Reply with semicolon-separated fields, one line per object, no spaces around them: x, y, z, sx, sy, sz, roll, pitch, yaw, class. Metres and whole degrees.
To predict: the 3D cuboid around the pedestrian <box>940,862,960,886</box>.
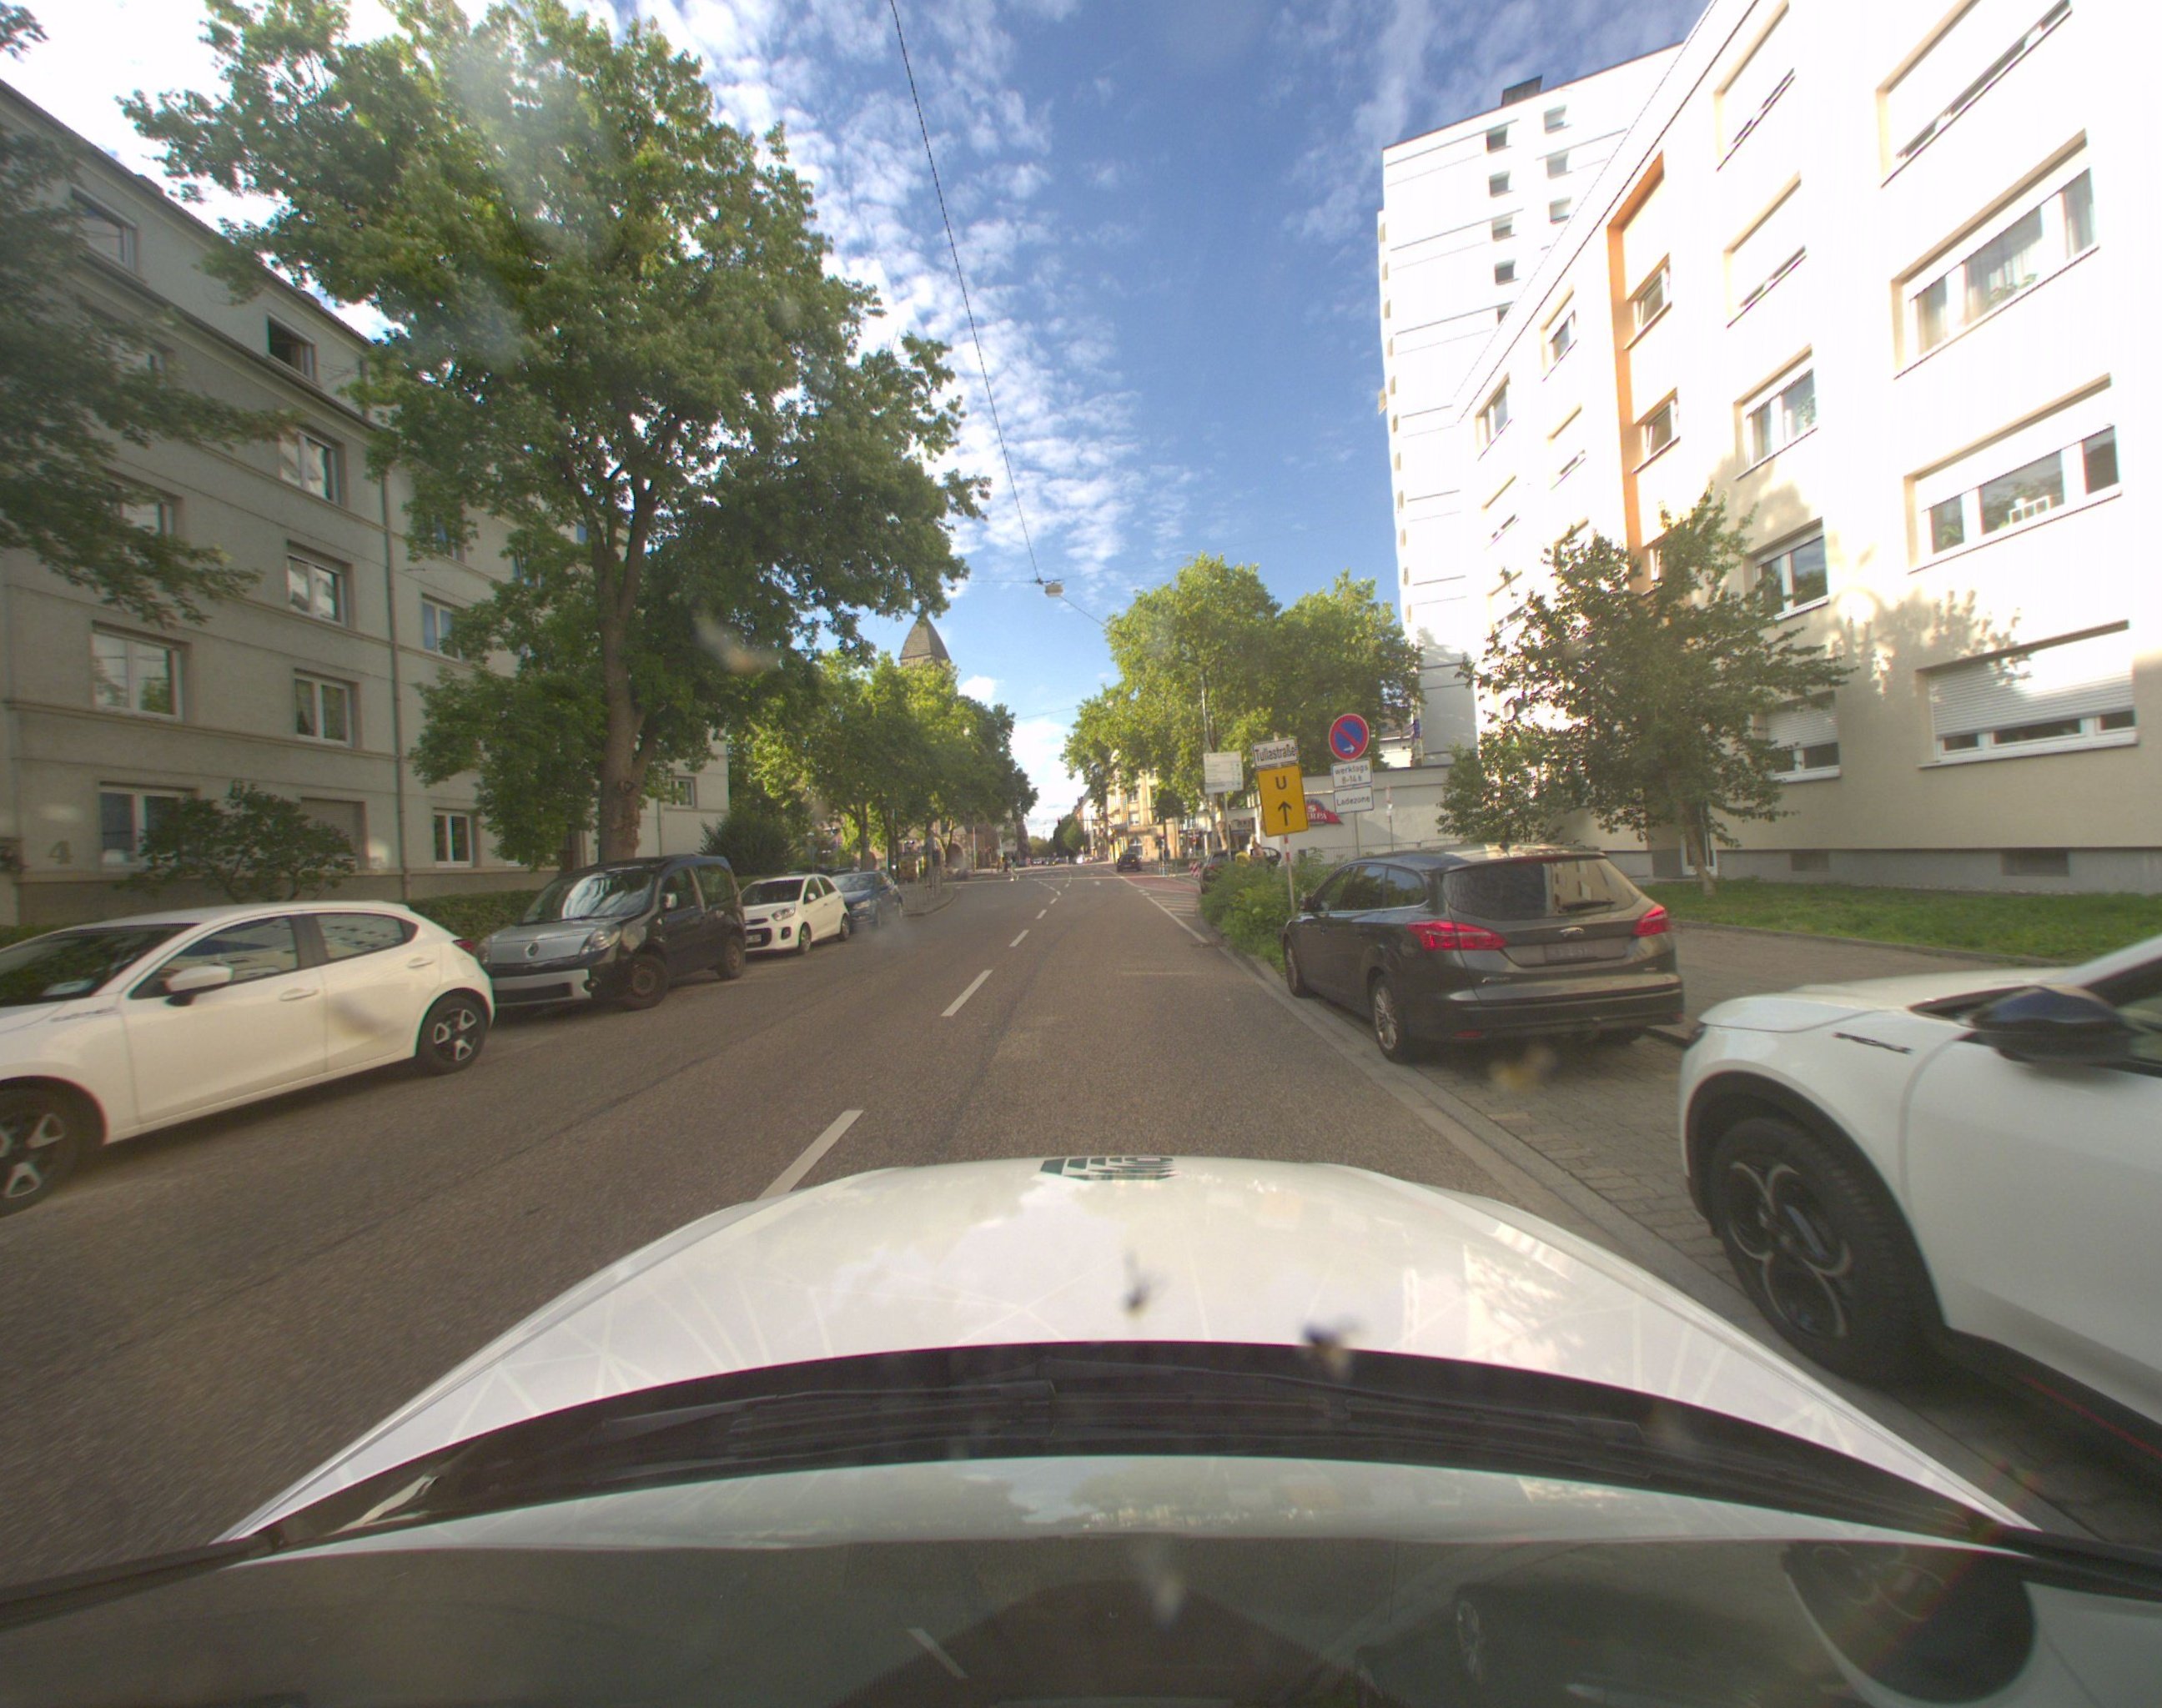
-9.152;1.396;56.871;0.805;1.654;1.083;-4;-1;37;pedestrian

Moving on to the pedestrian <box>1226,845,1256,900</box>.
4.727;0.536;24.108;0.650;1.538;0.743;-5;-1;1;pedestrian

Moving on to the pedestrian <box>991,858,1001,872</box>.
-10.355;1.395;99.587;0.807;1.628;0.608;-6;0;22;pedestrian

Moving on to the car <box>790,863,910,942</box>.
-5.669;1.123;20.470;1.794;1.620;3.802;-6;0;0;car

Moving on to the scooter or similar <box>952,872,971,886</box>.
-8.432;1.748;57.697;0.797;0.923;1.021;-4;-1;38;scooter or similar

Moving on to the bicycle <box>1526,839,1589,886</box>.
11.354;0.203;19.449;0.520;1.056;1.552;-3;0;-1;bicycle

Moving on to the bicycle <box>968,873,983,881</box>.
-13.673;3.019;105.803;1.813;0.955;0.576;-4;-1;24;bicycle

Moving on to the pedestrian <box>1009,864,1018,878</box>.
-8.253;2.035;99.944;0.774;1.662;0.782;-4;0;20;pedestrian

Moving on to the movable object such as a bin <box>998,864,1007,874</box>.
-9.528;1.839;99.266;0.830;1.123;0.578;-4;-1;21;movable object such as a bin

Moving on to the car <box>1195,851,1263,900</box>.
4.916;0.670;27.516;1.753;1.411;4.238;-5;-1;5;car

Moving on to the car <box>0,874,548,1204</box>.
-5.992;1.010;5.405;1.686;1.493;4.338;-5;0;5;car

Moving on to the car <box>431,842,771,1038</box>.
-5.792;0.900;10.563;1.717;1.882;4.192;-5;0;1;car

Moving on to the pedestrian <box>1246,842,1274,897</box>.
5.514;0.476;25.099;0.650;1.645;0.743;-3;-1;1;pedestrian

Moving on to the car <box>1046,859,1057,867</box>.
-5.374;1.692;149.269;1.944;1.372;3.996;-4;0;-3;car

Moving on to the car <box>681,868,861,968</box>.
-5.836;1.133;15.895;1.792;1.493;3.805;-6;0;2;car

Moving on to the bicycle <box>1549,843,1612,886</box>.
11.908;0.244;19.451;0.476;0.963;1.552;-3;0;-1;bicycle

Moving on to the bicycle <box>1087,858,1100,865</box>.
2.106;1.342;140.149;2.024;1.082;0.628;-4;0;-13;bicycle

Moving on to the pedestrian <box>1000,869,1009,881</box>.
-9.157;2.503;97.864;0.774;1.432;0.735;-4;0;23;pedestrian

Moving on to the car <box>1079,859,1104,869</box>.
1.794;1.698;141.900;3.982;1.420;1.996;-4;-1;-6;car

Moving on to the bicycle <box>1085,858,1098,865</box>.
1.835;1.297;139.443;2.024;1.082;0.617;-4;0;-13;bicycle

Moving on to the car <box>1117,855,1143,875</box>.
3.804;0.850;63.964;1.746;1.413;4.000;-3;0;1;car

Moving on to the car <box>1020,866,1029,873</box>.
-12.095;3.302;174.791;1.545;1.230;3.587;-3;0;0;car

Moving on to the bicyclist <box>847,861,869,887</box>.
-14.919;1.351;54.405;1.100;1.691;0.819;-2;0;21;bicyclist

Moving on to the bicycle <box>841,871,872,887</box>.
-15.004;1.704;54.485;1.903;0.994;0.767;-2;0;21;bicycle

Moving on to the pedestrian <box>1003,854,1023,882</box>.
-4.352;0.920;52.421;1.076;1.753;0.914;-2;-1;-15;pedestrian

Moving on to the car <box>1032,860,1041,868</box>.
-11.944;2.573;218.039;1.986;2.013;4.001;-3;0;1;car

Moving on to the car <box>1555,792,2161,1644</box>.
2.722;0.605;1.193;1.683;1.528;4.241;-3;0;3;car

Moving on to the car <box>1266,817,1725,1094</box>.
2.945;0.608;6.959;1.684;1.528;4.237;-4;0;0;car
